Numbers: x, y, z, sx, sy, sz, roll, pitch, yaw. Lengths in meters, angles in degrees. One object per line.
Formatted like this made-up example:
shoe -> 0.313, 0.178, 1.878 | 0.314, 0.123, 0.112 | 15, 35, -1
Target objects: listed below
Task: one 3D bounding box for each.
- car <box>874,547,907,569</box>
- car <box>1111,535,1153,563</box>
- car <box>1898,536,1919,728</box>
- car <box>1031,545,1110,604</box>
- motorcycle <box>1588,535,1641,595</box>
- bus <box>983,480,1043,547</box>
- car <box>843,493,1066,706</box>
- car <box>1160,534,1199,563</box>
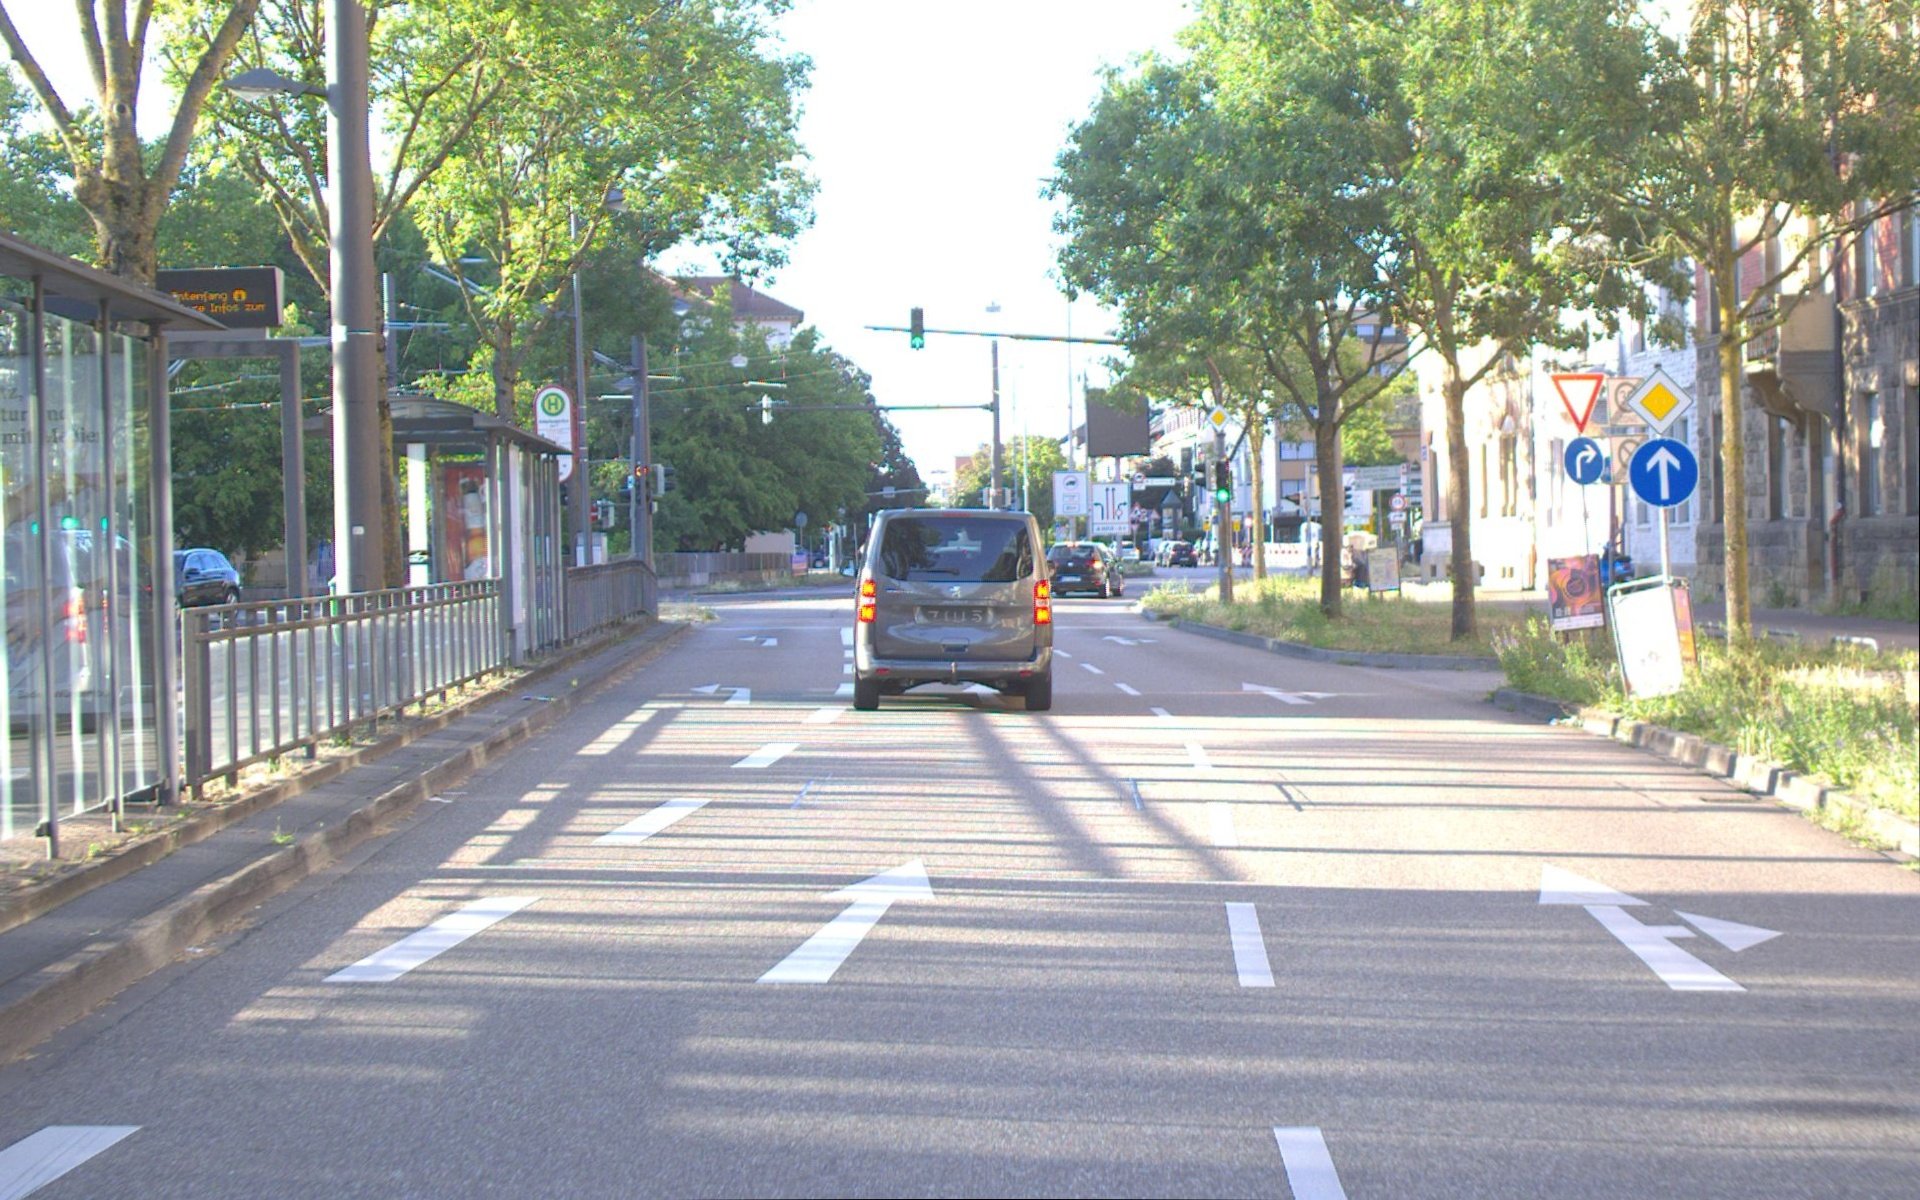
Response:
car -> -5.133, -3.094, 254.879 | 1.994, 1.590, 3.999 | -1, 1, 5
car -> 10.412, -3.087, 208.412 | 1.993, 1.651, 4.300 | -1, 1, -4
car -> 8.105, 0.298, 24.186 | 1.704, 1.443, 4.289 | 2, 1, -1
car -> 2.862, -0.688, 90.002 | 1.993, 1.505, 4.000 | 0, 1, 1
motorcycle -> 13.350, -0.722, 70.155 | 0.553, 1.210, 2.073 | 0, 1, -3
bus -> 3.740, -6.093, 245.098 | 3.289, 4.601, 10.002 | 0, 1, -5
car -> -0.066, -0.033, 33.305 | 1.993, 1.894, 4.299 | 1, 1, 0
car -> 12.969, -3.047, 203.334 | 1.993, 1.651, 4.299 | -1, 1, 0
